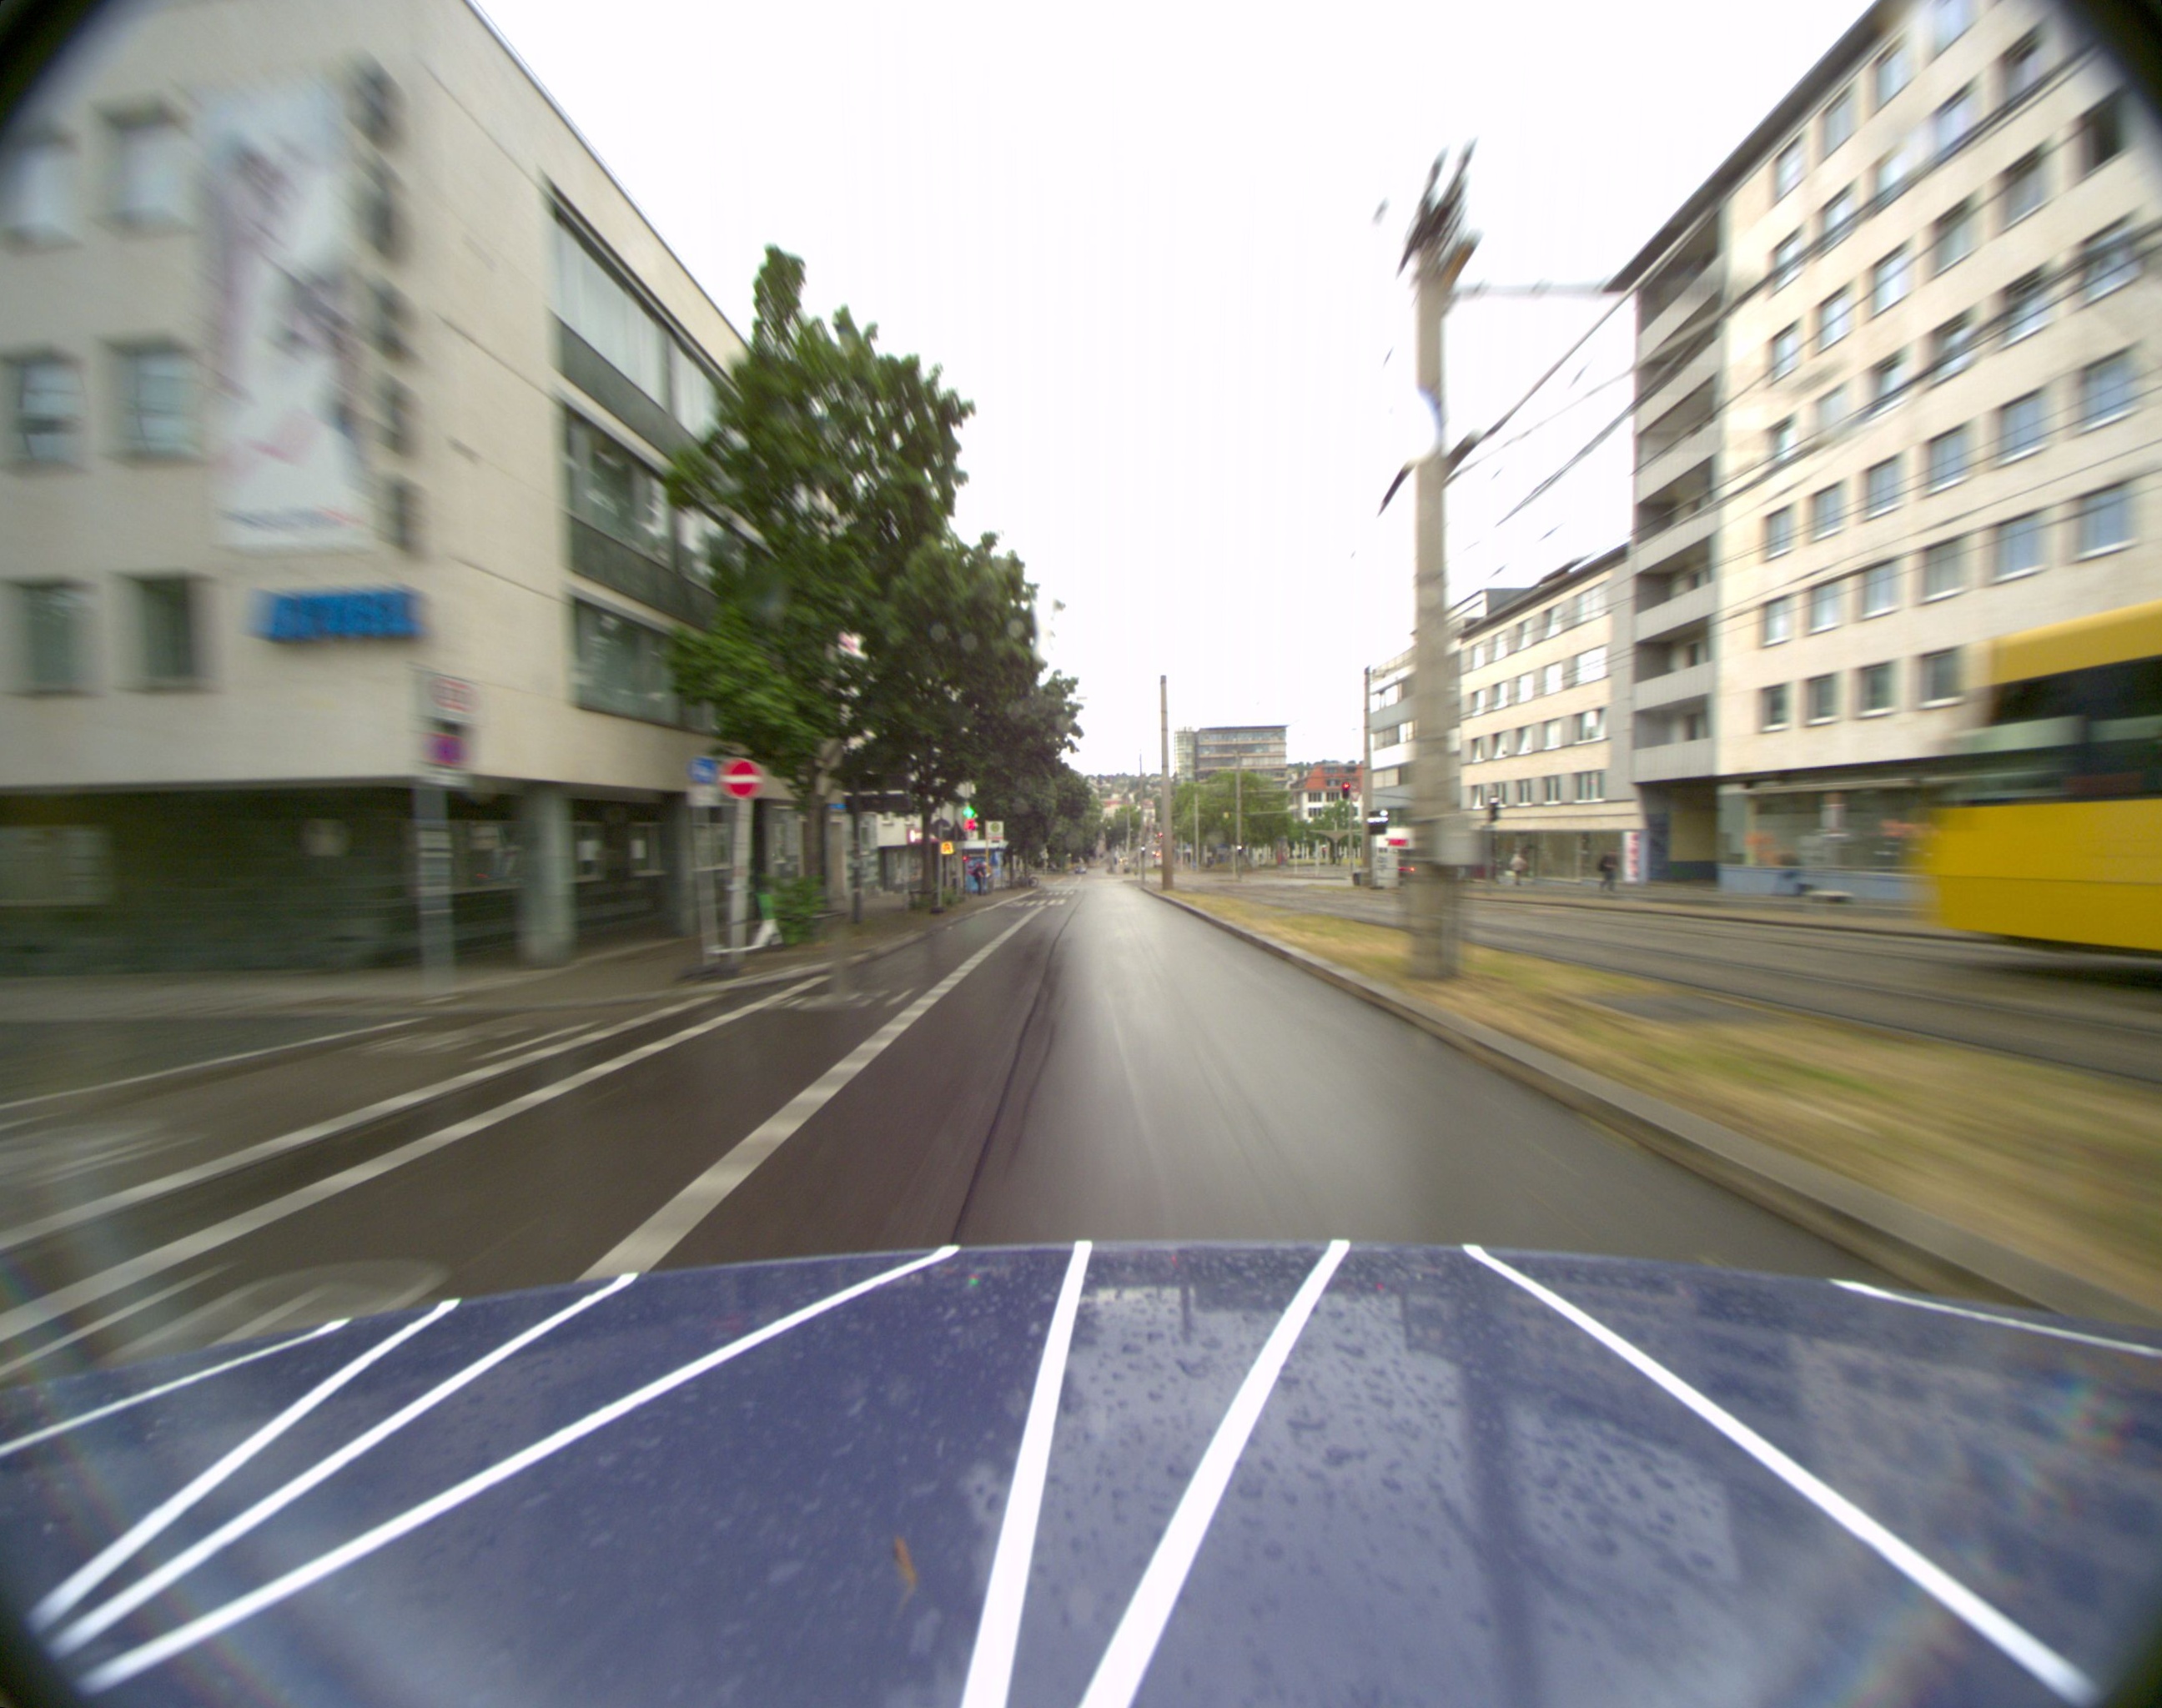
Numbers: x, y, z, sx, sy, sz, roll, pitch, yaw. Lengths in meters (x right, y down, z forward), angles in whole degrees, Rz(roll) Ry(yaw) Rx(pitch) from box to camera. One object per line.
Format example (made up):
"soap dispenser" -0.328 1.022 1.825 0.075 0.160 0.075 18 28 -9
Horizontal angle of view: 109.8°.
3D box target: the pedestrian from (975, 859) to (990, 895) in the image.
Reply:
"pedestrian" -4.520 1.042 34.810 0.560 1.614 0.485 -2 0 2

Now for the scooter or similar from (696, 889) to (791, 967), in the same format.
"scooter or similar" -5.690 1.224 12.814 1.386 1.173 0.511 -2 1 -30

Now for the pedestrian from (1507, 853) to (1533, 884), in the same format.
"pedestrian" 22.676 0.746 39.229 0.791 1.583 0.892 -2 -1 2

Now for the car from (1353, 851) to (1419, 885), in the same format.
"car" 15.658 0.739 39.227 1.824 1.623 3.868 -2 -1 0

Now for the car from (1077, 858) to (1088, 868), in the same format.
"car" 0.256 1.436 116.215 1.620 1.455 3.589 -2 -1 1

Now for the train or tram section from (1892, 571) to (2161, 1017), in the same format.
"train or tram section" 10.307 -0.510 3.829 2.786 3.671 8.973 -2 1 0

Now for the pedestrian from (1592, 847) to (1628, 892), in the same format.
"pedestrian" 20.737 0.606 29.809 0.787 1.697 0.893 -2 -1 6

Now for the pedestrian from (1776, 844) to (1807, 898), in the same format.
"pedestrian" 22.299 0.533 23.840 0.525 1.660 0.436 -2 0 1
